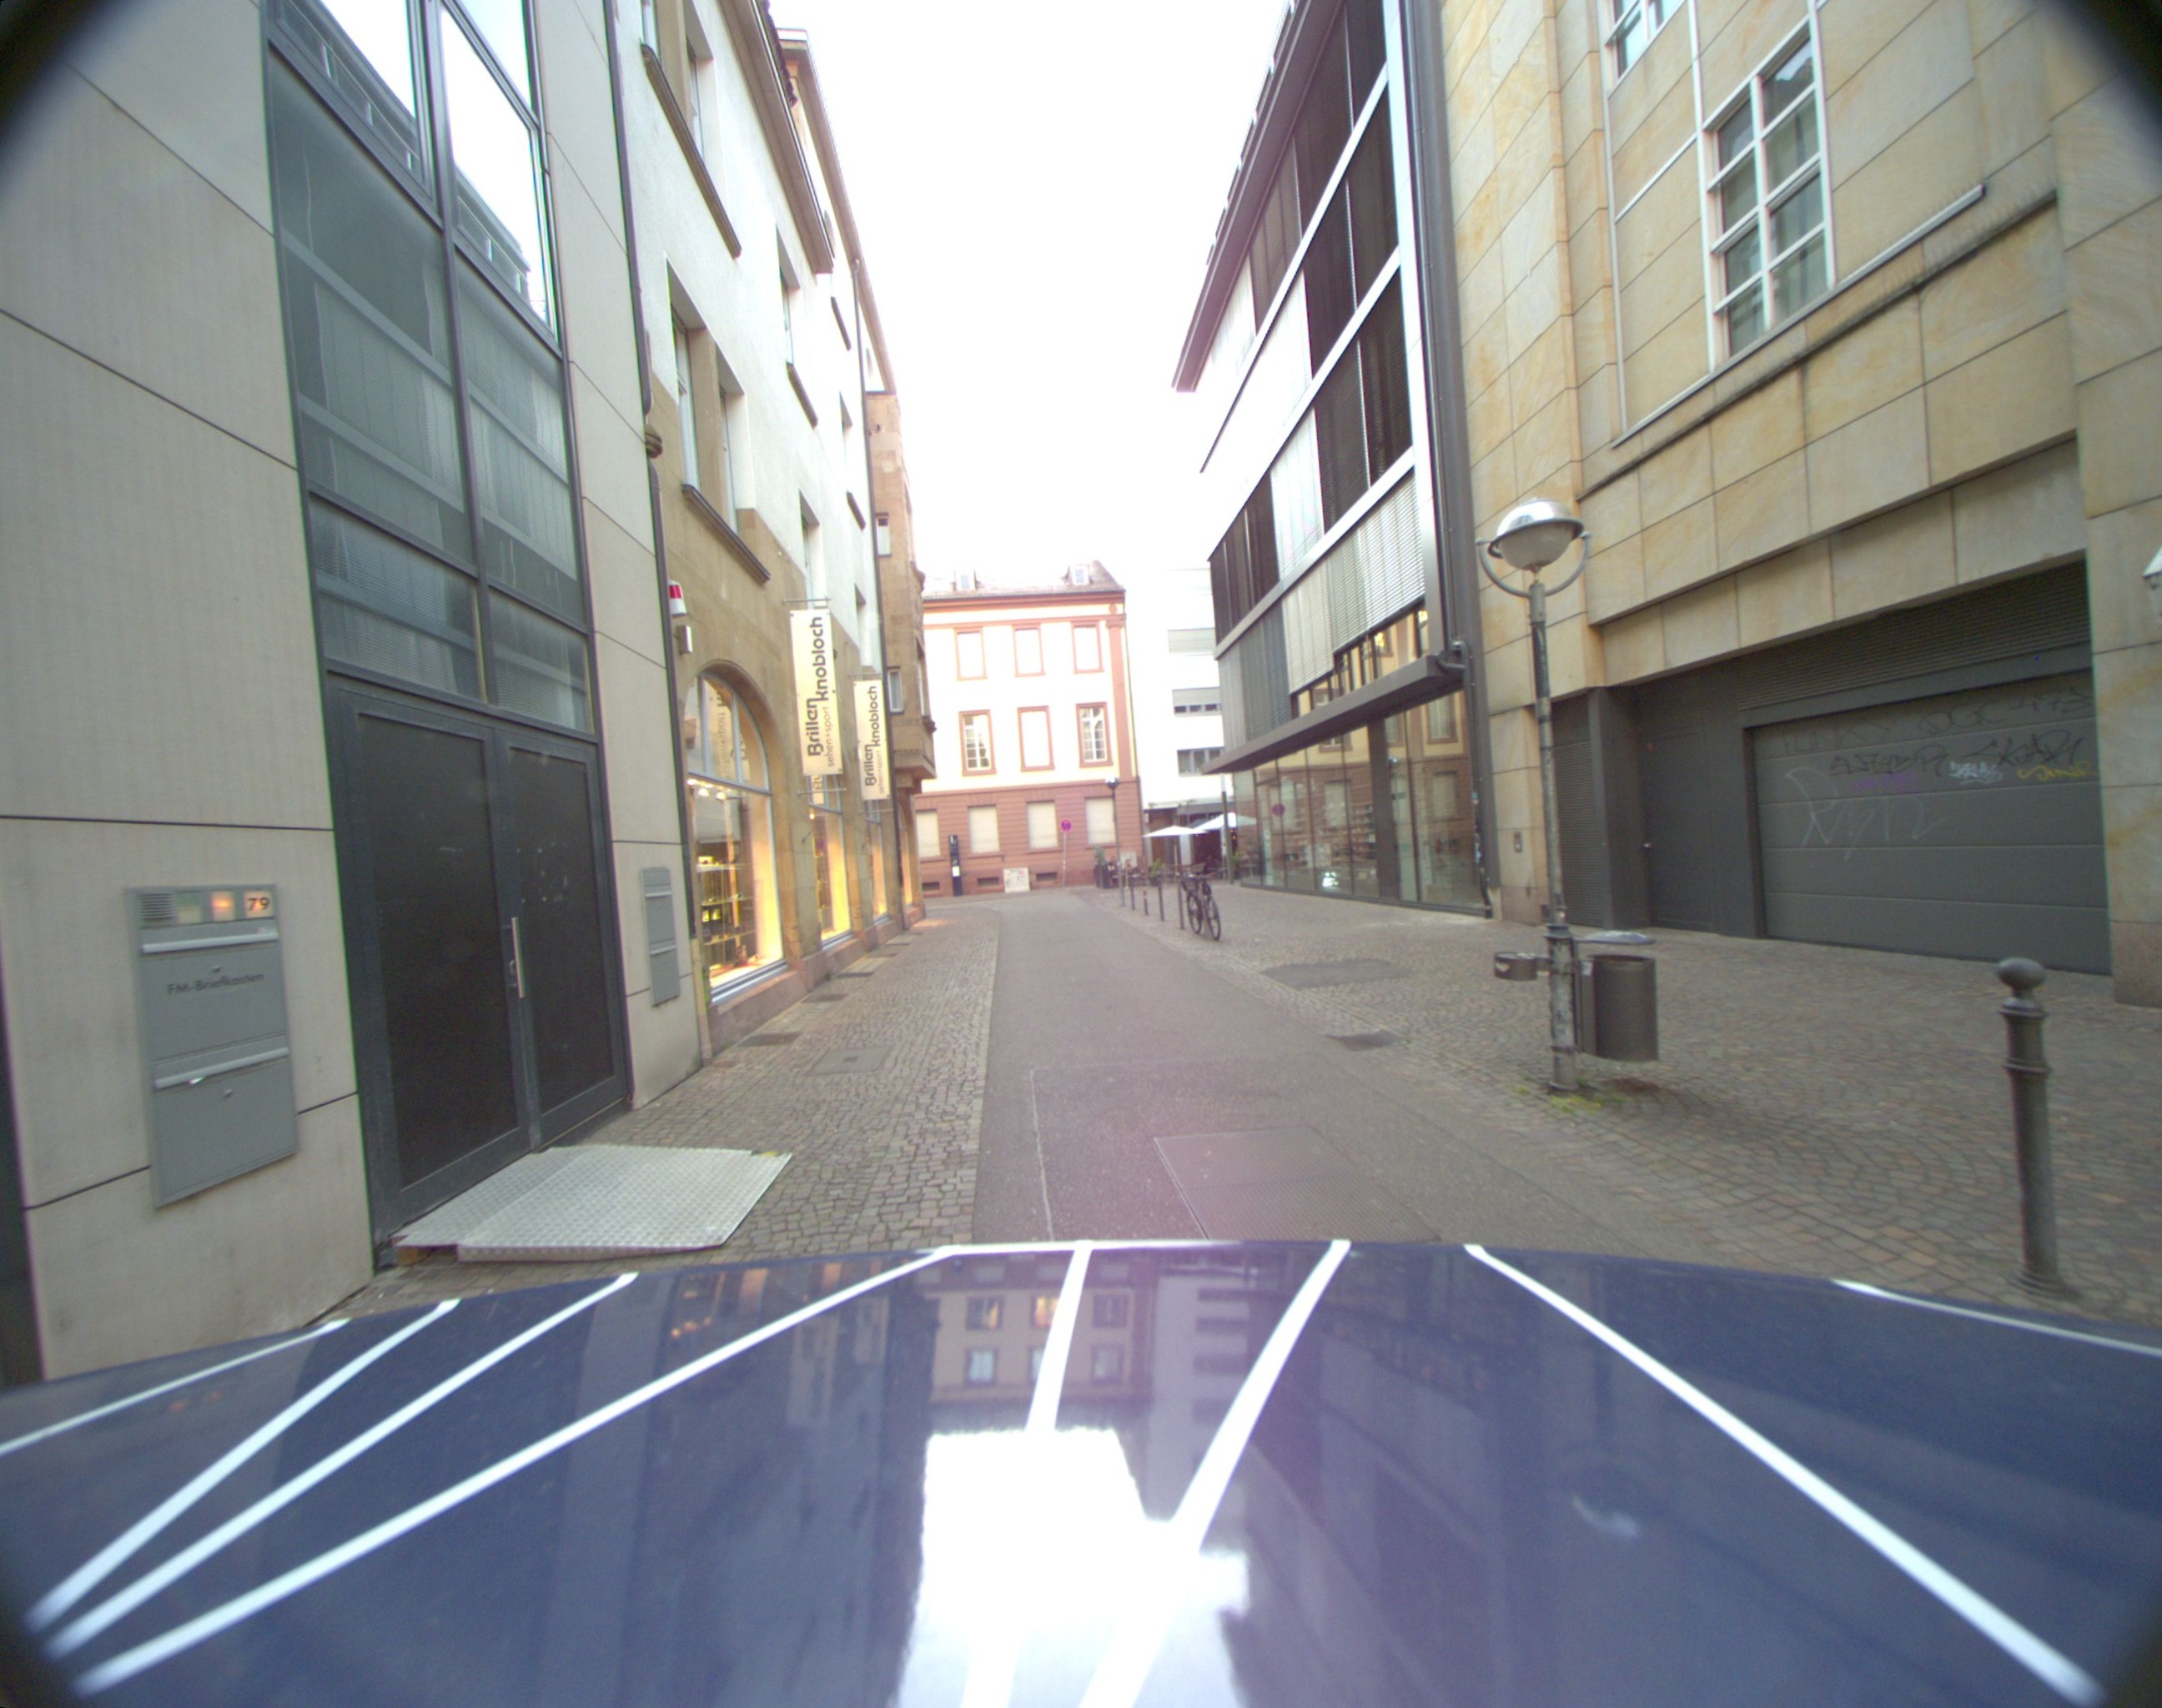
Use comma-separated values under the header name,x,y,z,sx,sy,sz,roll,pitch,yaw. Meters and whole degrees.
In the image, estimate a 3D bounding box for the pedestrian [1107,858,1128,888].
name,x,y,z,sx,sy,sz,roll,pitch,yaw
pedestrian,1.560,0.811,32.457,0.674,1.177,0.792,-5,2,-11

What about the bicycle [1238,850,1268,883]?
name,x,y,z,sx,sy,sz,roll,pitch,yaw
bicycle,6.278,0.478,27.836,0.467,1.129,1.702,-5,-2,-6

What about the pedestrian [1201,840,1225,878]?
name,x,y,z,sx,sy,sz,roll,pitch,yaw
pedestrian,5.936,0.229,34.124,0.725,1.639,0.792,-5,1,-11

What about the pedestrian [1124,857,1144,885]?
name,x,y,z,sx,sy,sz,roll,pitch,yaw
pedestrian,2.326,0.755,33.628,0.673,1.177,0.792,-4,2,-7

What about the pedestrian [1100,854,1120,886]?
name,x,y,z,sx,sy,sz,roll,pitch,yaw
pedestrian,1.296,0.701,34.028,0.673,1.324,0.792,-4,2,-7

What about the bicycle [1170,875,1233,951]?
name,x,y,z,sx,sy,sz,roll,pitch,yaw
bicycle,2.036,0.961,13.034,0.411,1.126,1.929,-5,1,-9
